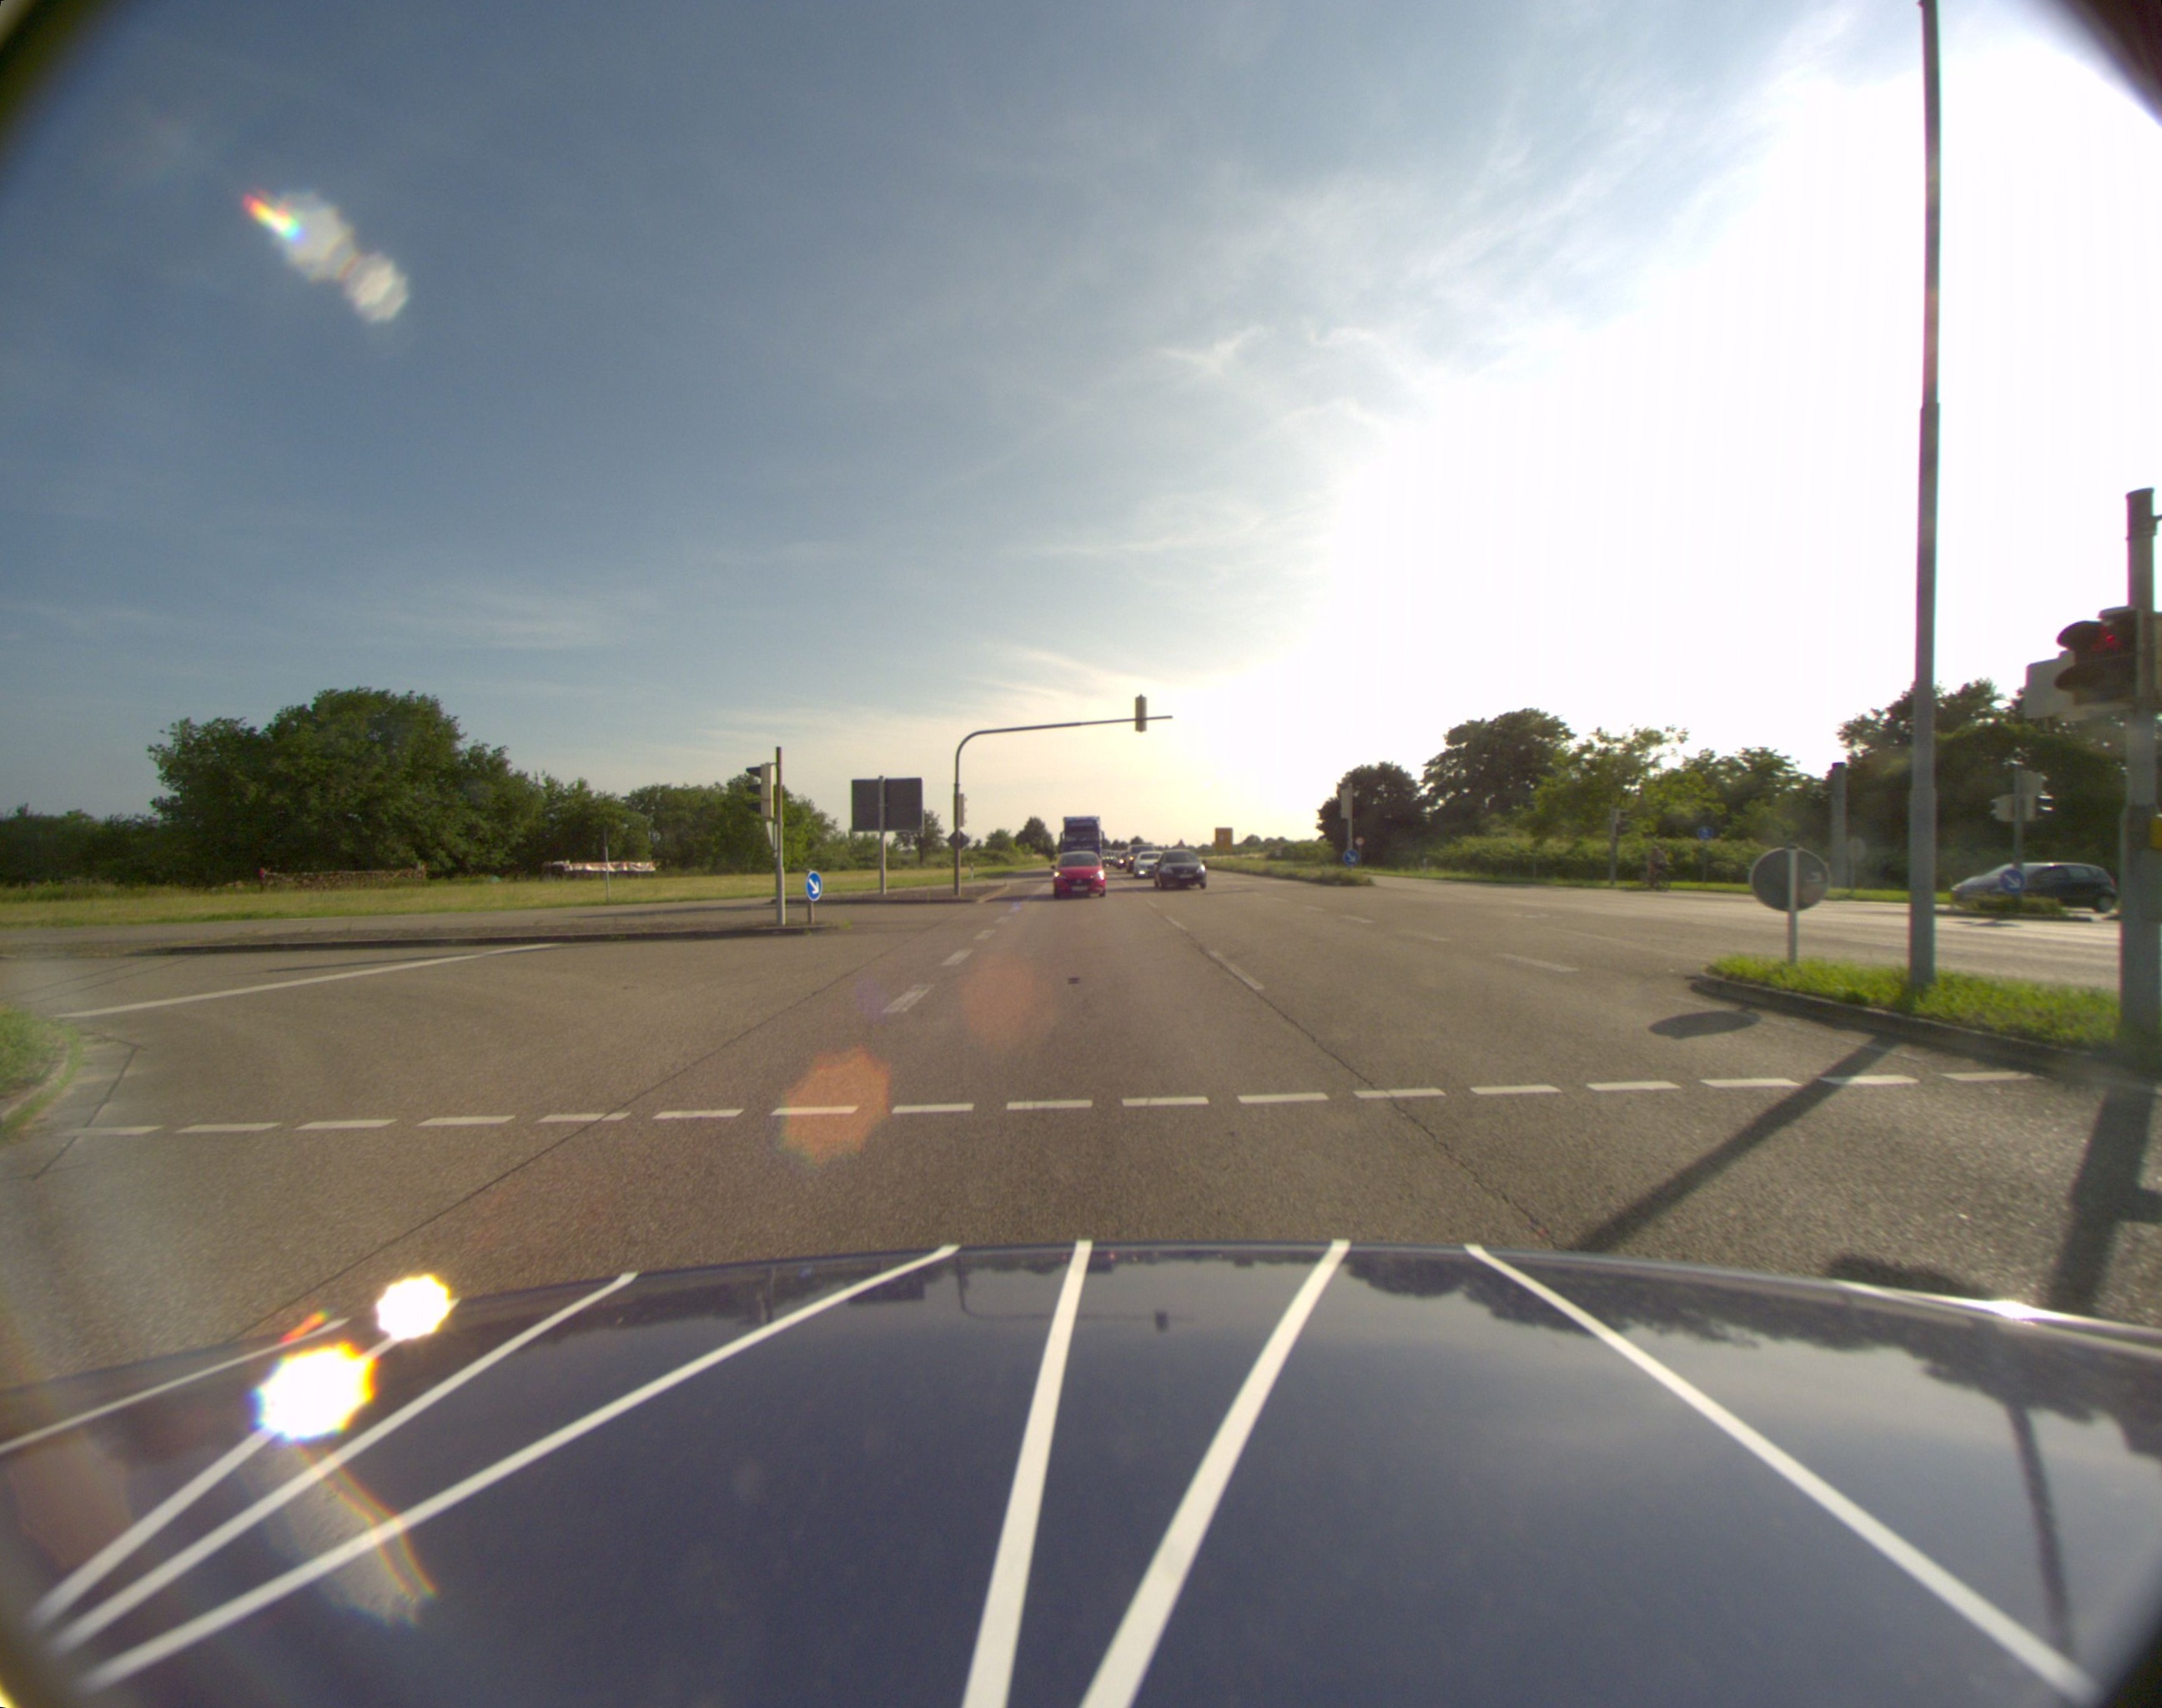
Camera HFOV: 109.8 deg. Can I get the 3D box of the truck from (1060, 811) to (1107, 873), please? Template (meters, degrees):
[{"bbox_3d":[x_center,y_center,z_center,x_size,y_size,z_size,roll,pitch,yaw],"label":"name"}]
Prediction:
[{"bbox_3d":[0.242,-0.836,53.917,2.850,3.897,10.103,-2,1,1],"label":"truck"}]

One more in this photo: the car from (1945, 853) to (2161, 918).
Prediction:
[{"bbox_3d":[32.731,1.004,25.644,4.844,1.876,2.253,-2,1,-5],"label":"car"}]

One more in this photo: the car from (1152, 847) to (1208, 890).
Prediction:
[{"bbox_3d":[3.779,0.518,29.508,1.636,1.500,3.999,-2,1,1],"label":"car"}]

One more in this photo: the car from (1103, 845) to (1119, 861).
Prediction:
[{"bbox_3d":[3.458,-0.136,87.631,1.636,1.833,3.999,-2,1,1],"label":"car"}]

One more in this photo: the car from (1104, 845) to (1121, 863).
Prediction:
[{"bbox_3d":[3.279,-0.045,80.025,1.636,1.833,3.999,-2,1,1],"label":"car"}]

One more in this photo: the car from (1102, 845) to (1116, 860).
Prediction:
[{"bbox_3d":[3.474,-0.223,95.334,1.636,1.833,3.999,-2,1,1],"label":"car"}]

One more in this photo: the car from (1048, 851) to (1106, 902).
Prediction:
[{"bbox_3d":[-0.089,0.693,25.522,1.735,1.467,3.999,-2,1,1],"label":"car"}]

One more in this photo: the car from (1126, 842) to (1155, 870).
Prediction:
[{"bbox_3d":[4.057,0.106,52.261,1.636,1.833,3.999,-2,1,1],"label":"car"}]

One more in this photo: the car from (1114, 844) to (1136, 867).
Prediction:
[{"bbox_3d":[3.765,0.102,65.192,1.636,1.833,3.999,-2,1,1],"label":"car"}]

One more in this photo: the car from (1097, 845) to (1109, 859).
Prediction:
[{"bbox_3d":[3.084,-0.344,107.512,1.636,1.833,3.999,-2,1,1],"label":"car"}]

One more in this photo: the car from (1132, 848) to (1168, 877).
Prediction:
[{"bbox_3d":[3.705,0.411,41.417,1.636,1.442,3.999,-2,1,1],"label":"car"}]
